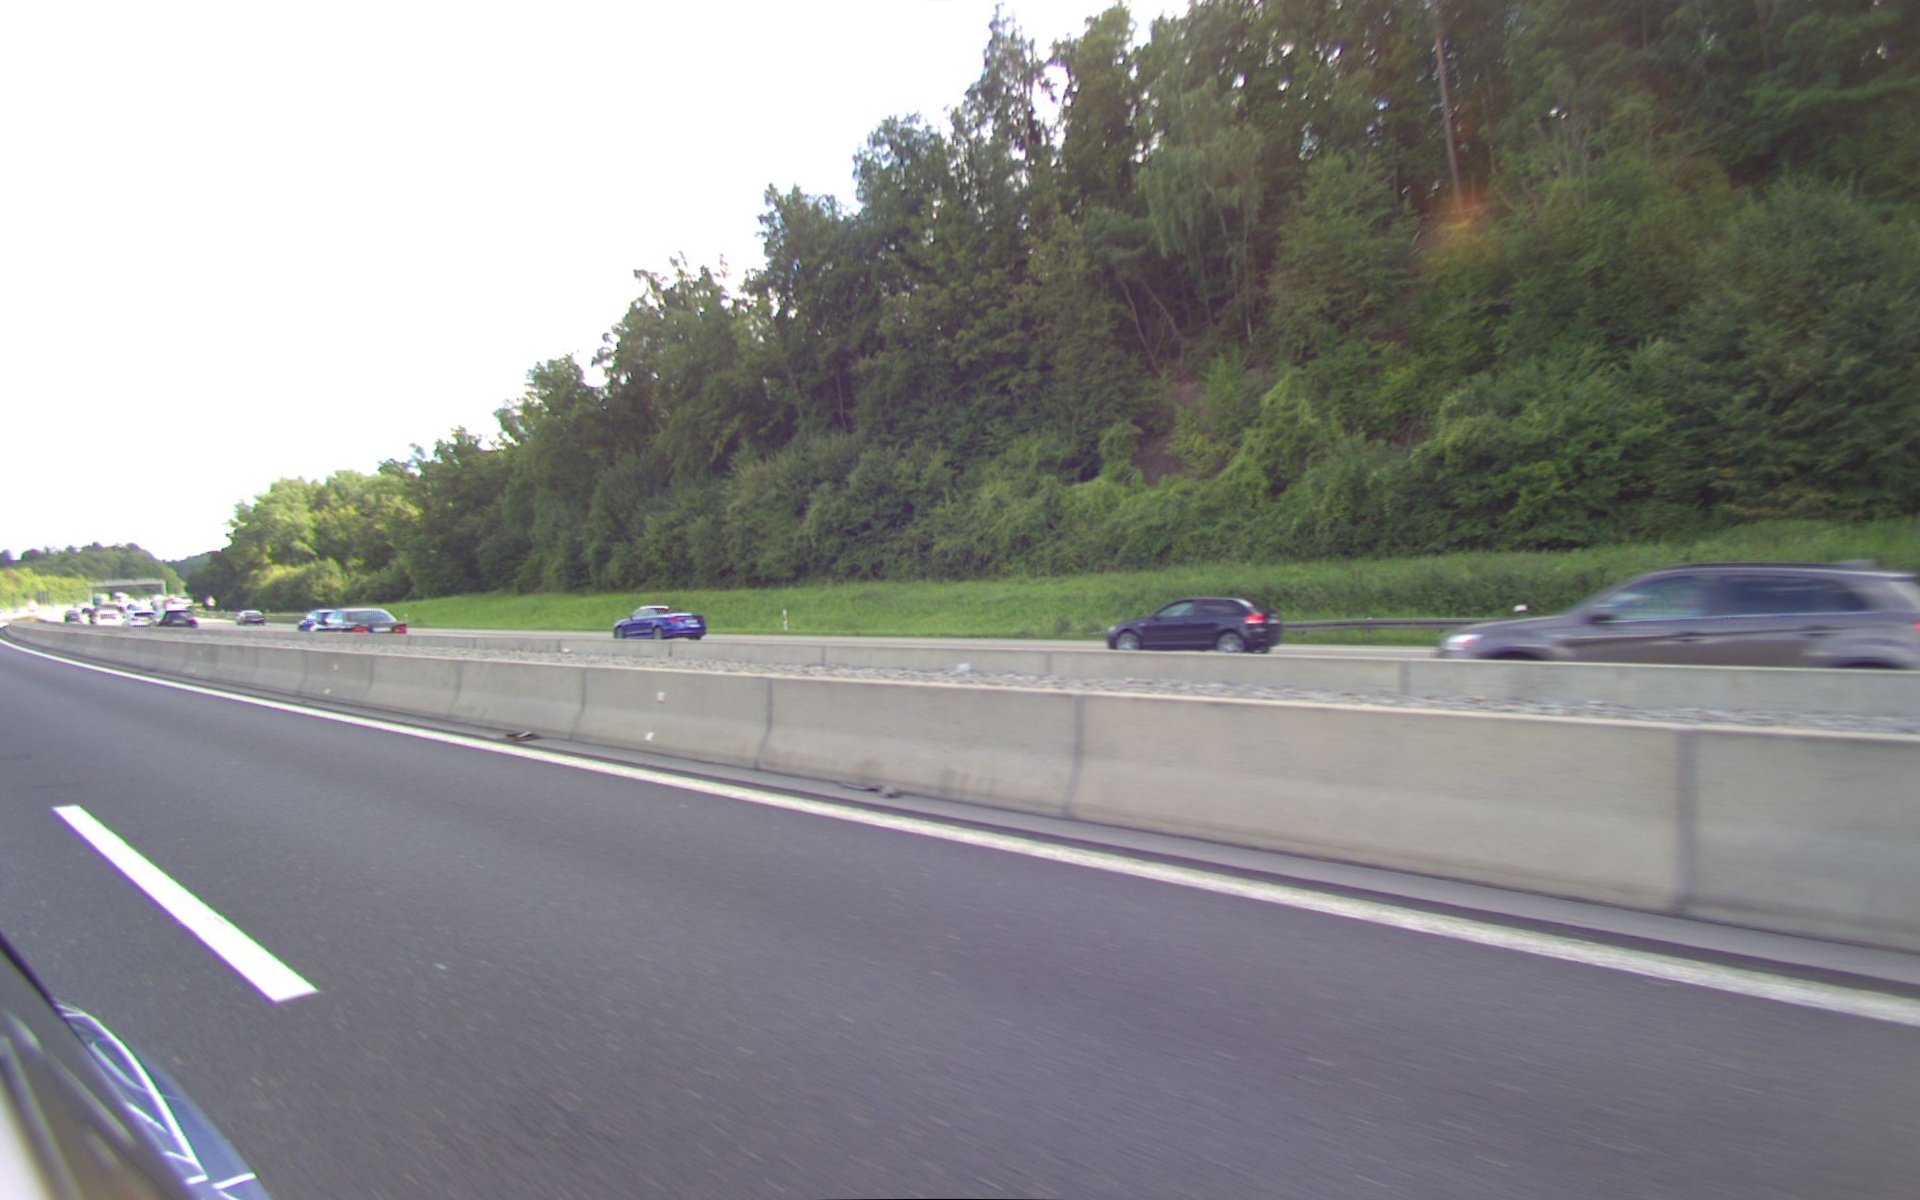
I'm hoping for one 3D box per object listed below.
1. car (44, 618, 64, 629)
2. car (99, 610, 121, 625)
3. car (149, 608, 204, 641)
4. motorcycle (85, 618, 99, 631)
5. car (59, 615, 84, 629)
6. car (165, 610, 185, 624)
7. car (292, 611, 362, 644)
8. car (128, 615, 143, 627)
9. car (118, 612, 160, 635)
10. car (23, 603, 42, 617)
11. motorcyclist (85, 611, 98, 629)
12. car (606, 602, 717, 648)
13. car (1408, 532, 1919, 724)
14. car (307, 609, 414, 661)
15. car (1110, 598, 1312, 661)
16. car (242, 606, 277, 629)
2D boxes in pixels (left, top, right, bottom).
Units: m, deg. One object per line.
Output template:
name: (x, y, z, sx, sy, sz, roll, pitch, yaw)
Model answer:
car: (-128.926, 3.336, 143.956, 1.959, 1.521, 5.966, -1, 0, -44)
car: (-123.747, 2.541, 147.342, 2.174, 2.146, 8.086, -1, 0, -42)
car: (-43.937, 1.368, 56.697, 4.316, 1.710, 1.855, -1, 0, 44)
motorcycle: (-80.841, 2.270, 94.275, 0.911, 1.197, 2.642, -1, 0, -42)
car: (-109.109, 2.674, 124.252, 1.971, 1.639, 4.781, -1, 0, -45)
car: (-115.546, 2.526, 148.960, 1.969, 2.050, 4.005, -1, 0, -42)
car: (-32.516, 1.391, 51.899, 4.741, 1.551, 1.971, -1, 0, 44)
car: (-153.627, 3.925, 188.592, 1.969, 2.050, 4.005, -1, 0, -42)
car: (-55.856, 1.608, 68.832, 4.297, 1.471, 1.741, -1, 0, 44)
car: (-138.446, 1.478, 151.060, 1.969, 2.050, 4.005, -1, 0, -42)
motorcyclist: (-80.871, 1.885, 94.280, 0.884, 1.645, 0.923, -1, 0, -42)
car: (-11.210, 0.913, 37.858, 4.556, 1.586, 1.786, -1, 0, 41)
car: (7.394, 0.235, 9.729, 5.283, 1.548, 1.972, -1, 0, 42)
car: (-19.545, 1.101, 32.908, 4.499, 1.551, 1.681, -1, 0, 42)
car: (5.748, 0.659, 23.408, 4.182, 1.321, 1.805, -1, 0, 38)
car: (-66.321, 1.632, 95.779, 2.002, 2.050, 4.785, -1, 0, -44)
